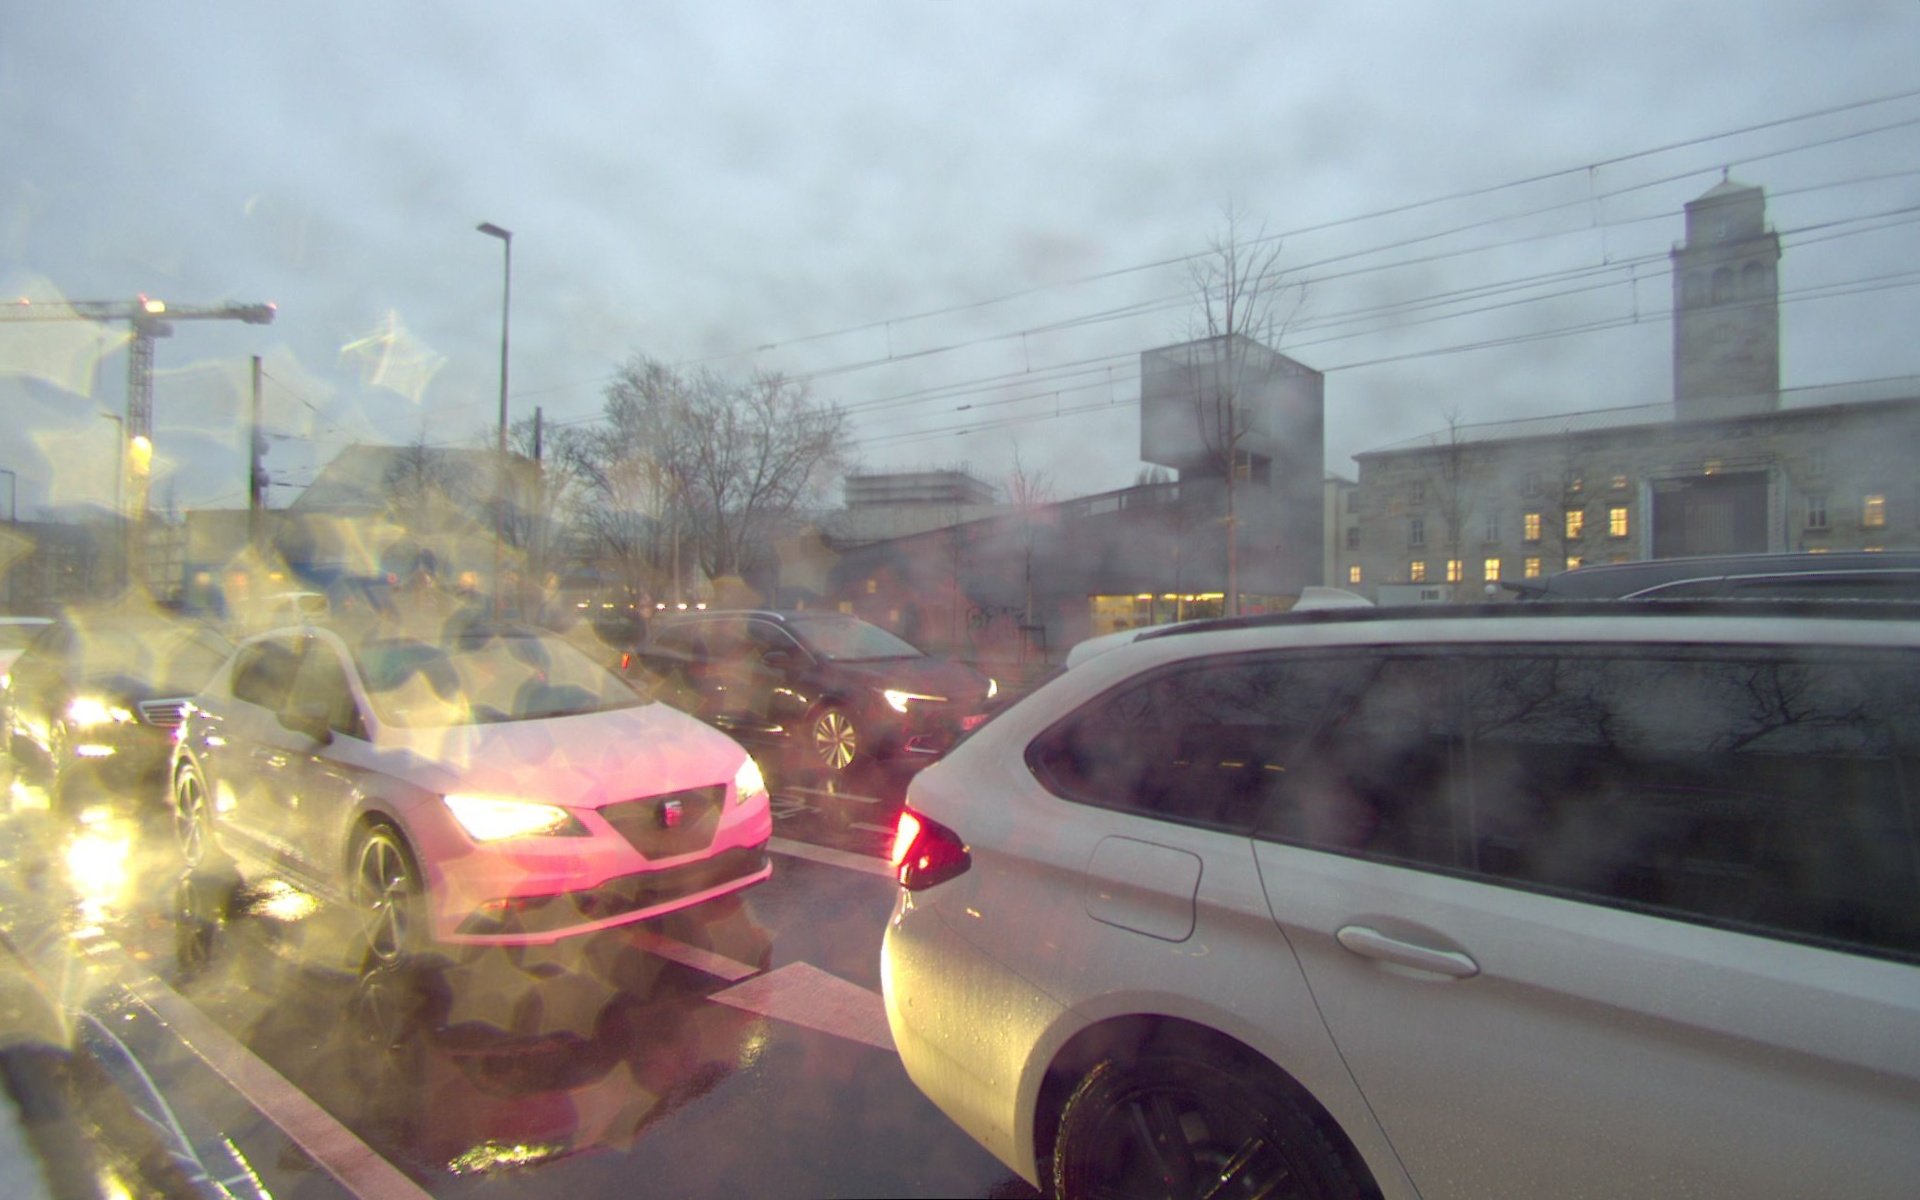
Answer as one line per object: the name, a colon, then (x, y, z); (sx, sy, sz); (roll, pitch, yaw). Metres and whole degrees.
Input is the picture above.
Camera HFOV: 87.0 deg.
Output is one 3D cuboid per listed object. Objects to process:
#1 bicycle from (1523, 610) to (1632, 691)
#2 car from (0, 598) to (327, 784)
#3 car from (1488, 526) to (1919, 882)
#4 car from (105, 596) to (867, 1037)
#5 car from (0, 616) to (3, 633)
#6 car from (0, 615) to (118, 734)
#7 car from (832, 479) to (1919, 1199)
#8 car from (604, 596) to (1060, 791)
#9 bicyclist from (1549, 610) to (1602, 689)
bicycle: (14.272, 1.126, 23.426); (2.061, 1.746, 0.754); (1, 1, 39)
car: (-8.447, 0.784, 10.391); (4.501, 1.498, 1.974); (-1, -2, 39)
car: (5.222, 0.472, 5.014); (4.289, 1.596, 1.946); (-1, -1, 42)
car: (-2.838, 0.769, 5.596); (4.497, 1.498, 1.926); (-1, 0, 37)
car: (-110.407, 2.751, 114.590); (3.989, 1.910, 2.072); (-1, -2, 34)
car: (-14.252, 1.036, 15.196); (3.998, 1.586, 1.882); (-1, 0, 41)
car: (2.069, 0.624, 1.650); (4.557, 1.498, 1.996); (-1, -2, 41)
car: (-1.442, 0.750, 10.091); (4.659, 1.519, 1.830); (0, -1, 39)
bicyclist: (14.251, 1.124, 23.446); (0.960, 1.746, 0.754); (1, 1, 38)
